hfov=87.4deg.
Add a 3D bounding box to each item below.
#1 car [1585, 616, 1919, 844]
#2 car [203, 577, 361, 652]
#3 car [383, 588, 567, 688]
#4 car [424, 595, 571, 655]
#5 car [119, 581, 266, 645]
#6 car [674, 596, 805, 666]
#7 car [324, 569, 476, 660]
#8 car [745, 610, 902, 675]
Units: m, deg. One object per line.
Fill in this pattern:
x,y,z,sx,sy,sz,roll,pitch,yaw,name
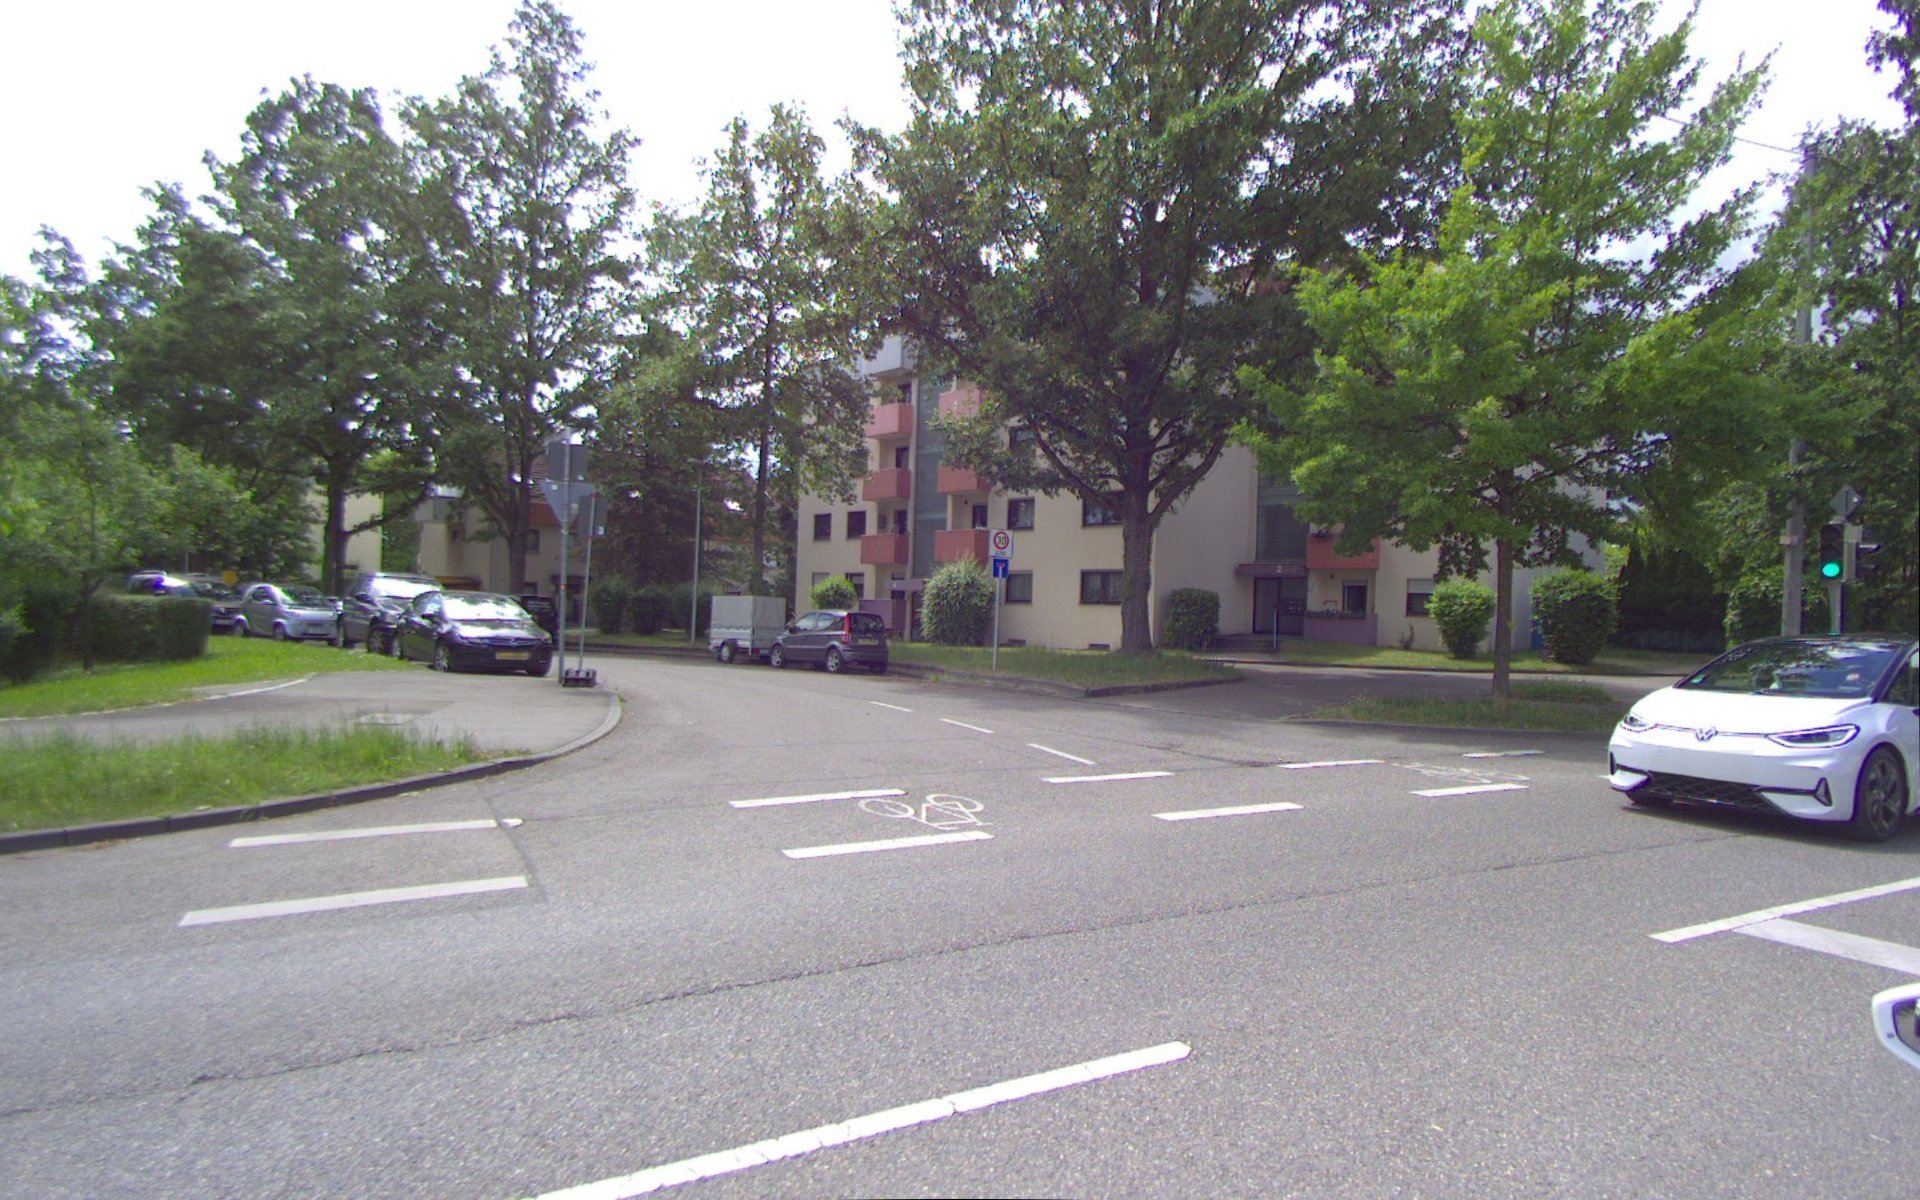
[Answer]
7.649,1.008,8.797,3.947,1.600,1.893,2,-2,-26,car
-17.649,0.346,26.134,3.927,1.818,1.763,1,0,28,car
-8.845,0.618,18.161,4.096,1.417,1.727,4,2,45,car
-15.314,0.790,33.266,4.334,1.818,2.125,1,0,25,car
-21.553,0.342,28.195,3.926,1.686,1.714,1,0,27,car
-6.339,0.904,28.669,3.946,1.868,1.834,-2,-3,44,car
-12.552,0.270,22.389,1.859,1.675,4.374,2,2,-44,car
-3.483,1.031,25.280,3.940,1.472,1.688,1,-1,41,car
